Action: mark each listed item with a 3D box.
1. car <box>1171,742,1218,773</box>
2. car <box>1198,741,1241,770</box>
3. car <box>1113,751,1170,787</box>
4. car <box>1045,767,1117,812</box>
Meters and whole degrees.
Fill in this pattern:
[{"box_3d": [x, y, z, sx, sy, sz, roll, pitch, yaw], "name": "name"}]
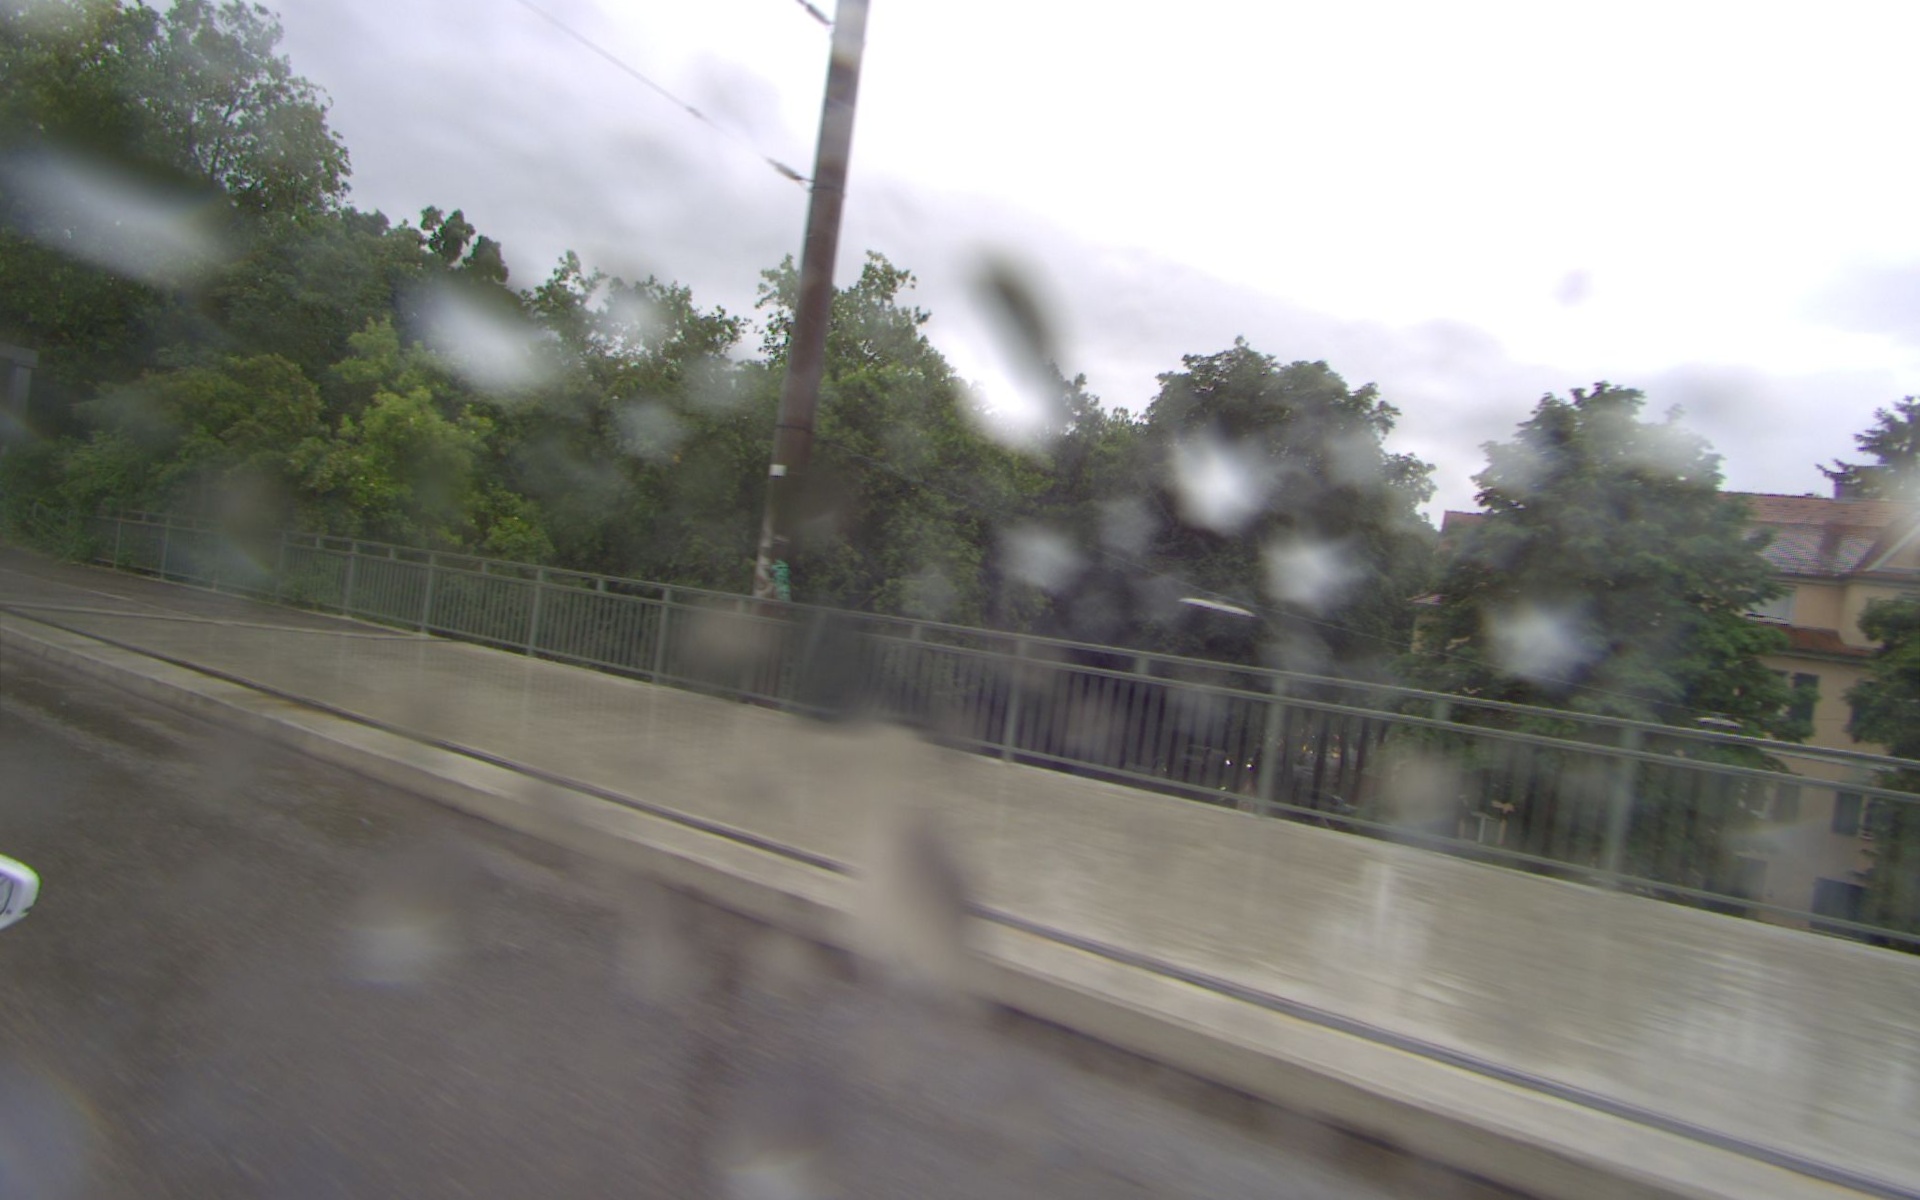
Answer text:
[{"box_3d": [14.891, 9.951, 63.791, 1.815, 1.436, 3.998, 8, -1, 28], "name": "car"}, {"box_3d": [17.643, 10.508, 68.257, 1.815, 1.436, 3.998, 8, -1, 28], "name": "car"}, {"box_3d": [10.129, 9.349, 55.974, 1.815, 1.436, 3.998, 8, -1, 28], "name": "car"}, {"box_3d": [5.600, 8.645, 46.143, 1.815, 1.436, 3.998, 8, -1, 28], "name": "car"}]
